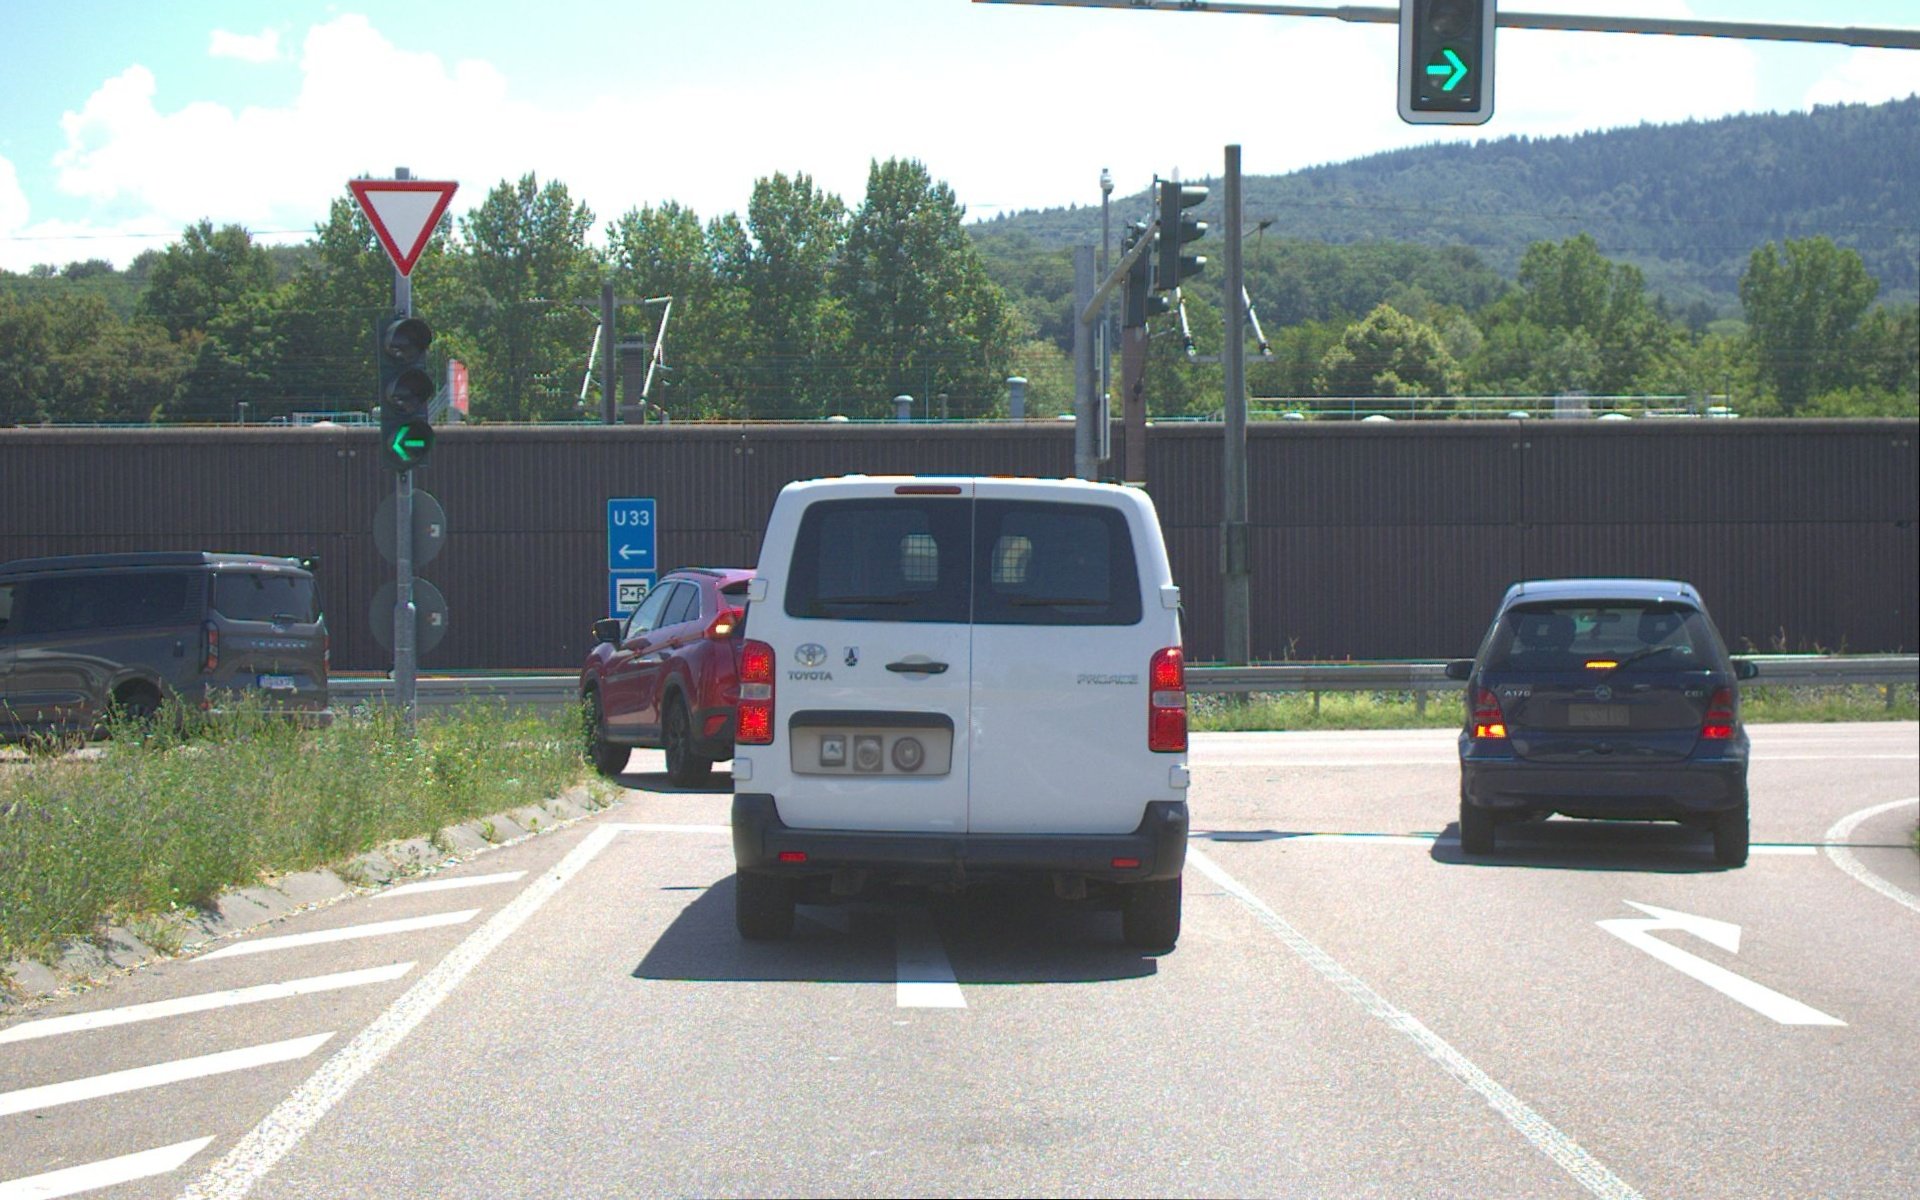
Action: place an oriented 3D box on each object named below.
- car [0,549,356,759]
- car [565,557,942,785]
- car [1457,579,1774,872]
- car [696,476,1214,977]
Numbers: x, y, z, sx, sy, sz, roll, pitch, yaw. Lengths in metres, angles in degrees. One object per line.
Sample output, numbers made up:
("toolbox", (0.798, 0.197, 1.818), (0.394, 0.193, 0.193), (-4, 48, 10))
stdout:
("car", (-8.669, 0.559, 35.052), (4.775, 2.015, 2.010), (-1, -1, 30))
("car", (-1.716, 0.557, 27.054), (1.905, 1.644, 4.142), (0, -1, -19))
("car", (3.903, 0.689, 20.929), (1.638, 1.591, 3.560), (1, 0, 7))
("car", (0.029, 0.471, 15.584), (1.946, 1.875, 4.880), (1, 0, 1))
